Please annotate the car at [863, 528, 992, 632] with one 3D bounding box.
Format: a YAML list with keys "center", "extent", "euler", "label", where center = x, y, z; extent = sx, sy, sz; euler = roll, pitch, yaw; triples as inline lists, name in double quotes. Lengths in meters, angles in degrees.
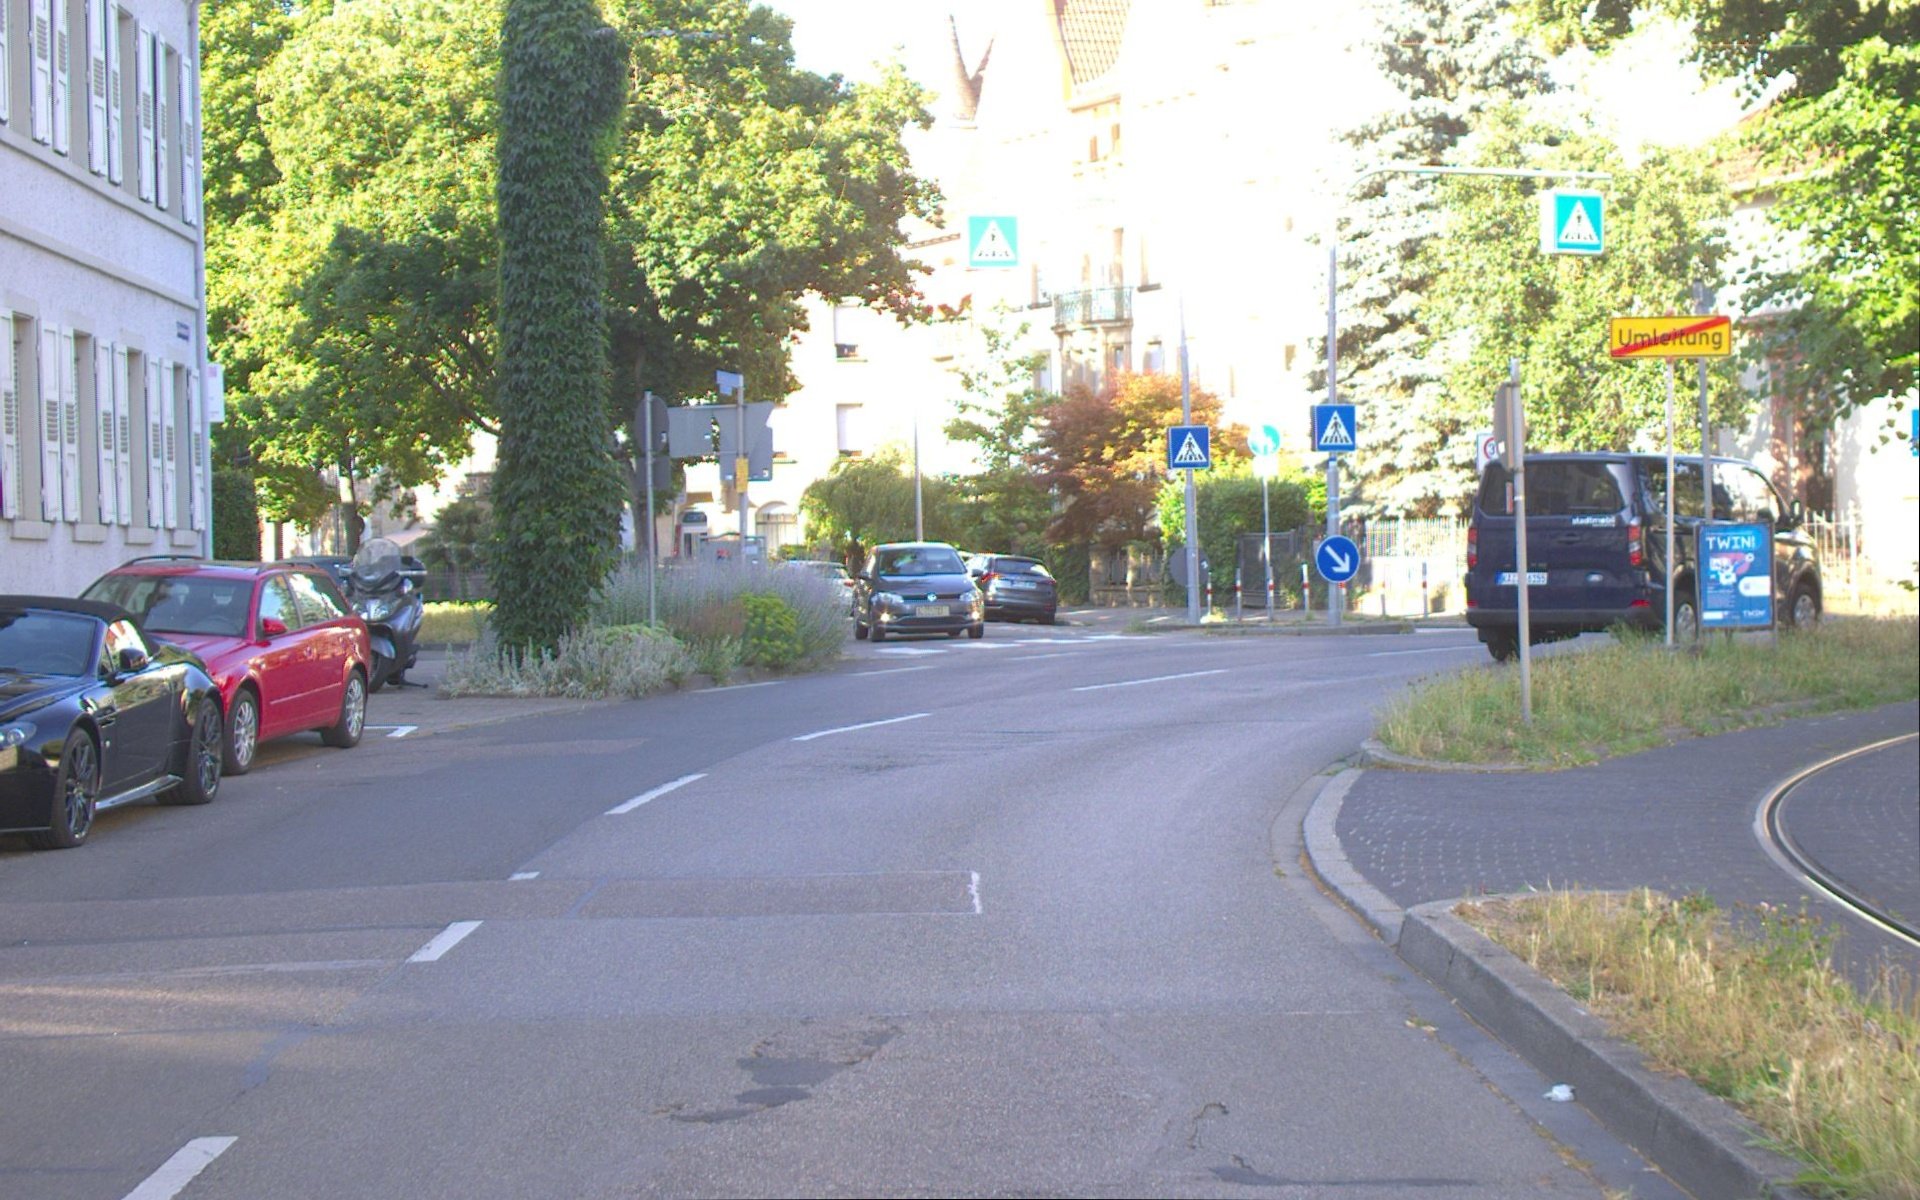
- center: [-0.452, -0.327, 51.313]
  extent: [1.712, 1.398, 3.738]
  euler: [-1, 2, 3]
  label: "car"

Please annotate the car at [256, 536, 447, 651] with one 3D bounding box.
- center: [-8.743, -0.107, 49.158]
  extent: [1.808, 1.531, 3.911]
  euler: [-2, 1, -23]
  label: "car"

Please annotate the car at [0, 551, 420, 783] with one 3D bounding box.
- center: [-5.481, 0.420, 25.654]
  extent: [1.709, 1.461, 4.591]
  euler: [0, 2, 6]
  label: "car"

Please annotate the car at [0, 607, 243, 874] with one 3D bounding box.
- center: [-5.330, 0.708, 19.297]
  extent: [1.664, 1.269, 4.026]
  euler: [0, 1, 2]
  label: "car"

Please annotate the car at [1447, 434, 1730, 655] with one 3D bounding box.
- center: [6.206, -0.579, 33.601]
  extent: [1.995, 2.006, 3.996]
  euler: [-1, 2, 21]
  label: "car"

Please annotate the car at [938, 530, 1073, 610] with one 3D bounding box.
- center: [0.913, -0.633, 71.634]
  extent: [1.993, 1.590, 4.001]
  euler: [-1, 1, -11]
  label: "car"

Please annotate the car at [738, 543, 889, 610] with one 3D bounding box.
- center: [-3.749, -0.594, 87.030]
  extent: [2.339, 1.590, 4.931]
  euler: [-2, 1, -21]
  label: "car"

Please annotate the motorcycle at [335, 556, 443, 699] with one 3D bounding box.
- center: [-5.748, 0.248, 34.523]
  extent: [0.930, 1.353, 2.565]
  euler: [-1, 1, -12]
  label: "motorcycle"
